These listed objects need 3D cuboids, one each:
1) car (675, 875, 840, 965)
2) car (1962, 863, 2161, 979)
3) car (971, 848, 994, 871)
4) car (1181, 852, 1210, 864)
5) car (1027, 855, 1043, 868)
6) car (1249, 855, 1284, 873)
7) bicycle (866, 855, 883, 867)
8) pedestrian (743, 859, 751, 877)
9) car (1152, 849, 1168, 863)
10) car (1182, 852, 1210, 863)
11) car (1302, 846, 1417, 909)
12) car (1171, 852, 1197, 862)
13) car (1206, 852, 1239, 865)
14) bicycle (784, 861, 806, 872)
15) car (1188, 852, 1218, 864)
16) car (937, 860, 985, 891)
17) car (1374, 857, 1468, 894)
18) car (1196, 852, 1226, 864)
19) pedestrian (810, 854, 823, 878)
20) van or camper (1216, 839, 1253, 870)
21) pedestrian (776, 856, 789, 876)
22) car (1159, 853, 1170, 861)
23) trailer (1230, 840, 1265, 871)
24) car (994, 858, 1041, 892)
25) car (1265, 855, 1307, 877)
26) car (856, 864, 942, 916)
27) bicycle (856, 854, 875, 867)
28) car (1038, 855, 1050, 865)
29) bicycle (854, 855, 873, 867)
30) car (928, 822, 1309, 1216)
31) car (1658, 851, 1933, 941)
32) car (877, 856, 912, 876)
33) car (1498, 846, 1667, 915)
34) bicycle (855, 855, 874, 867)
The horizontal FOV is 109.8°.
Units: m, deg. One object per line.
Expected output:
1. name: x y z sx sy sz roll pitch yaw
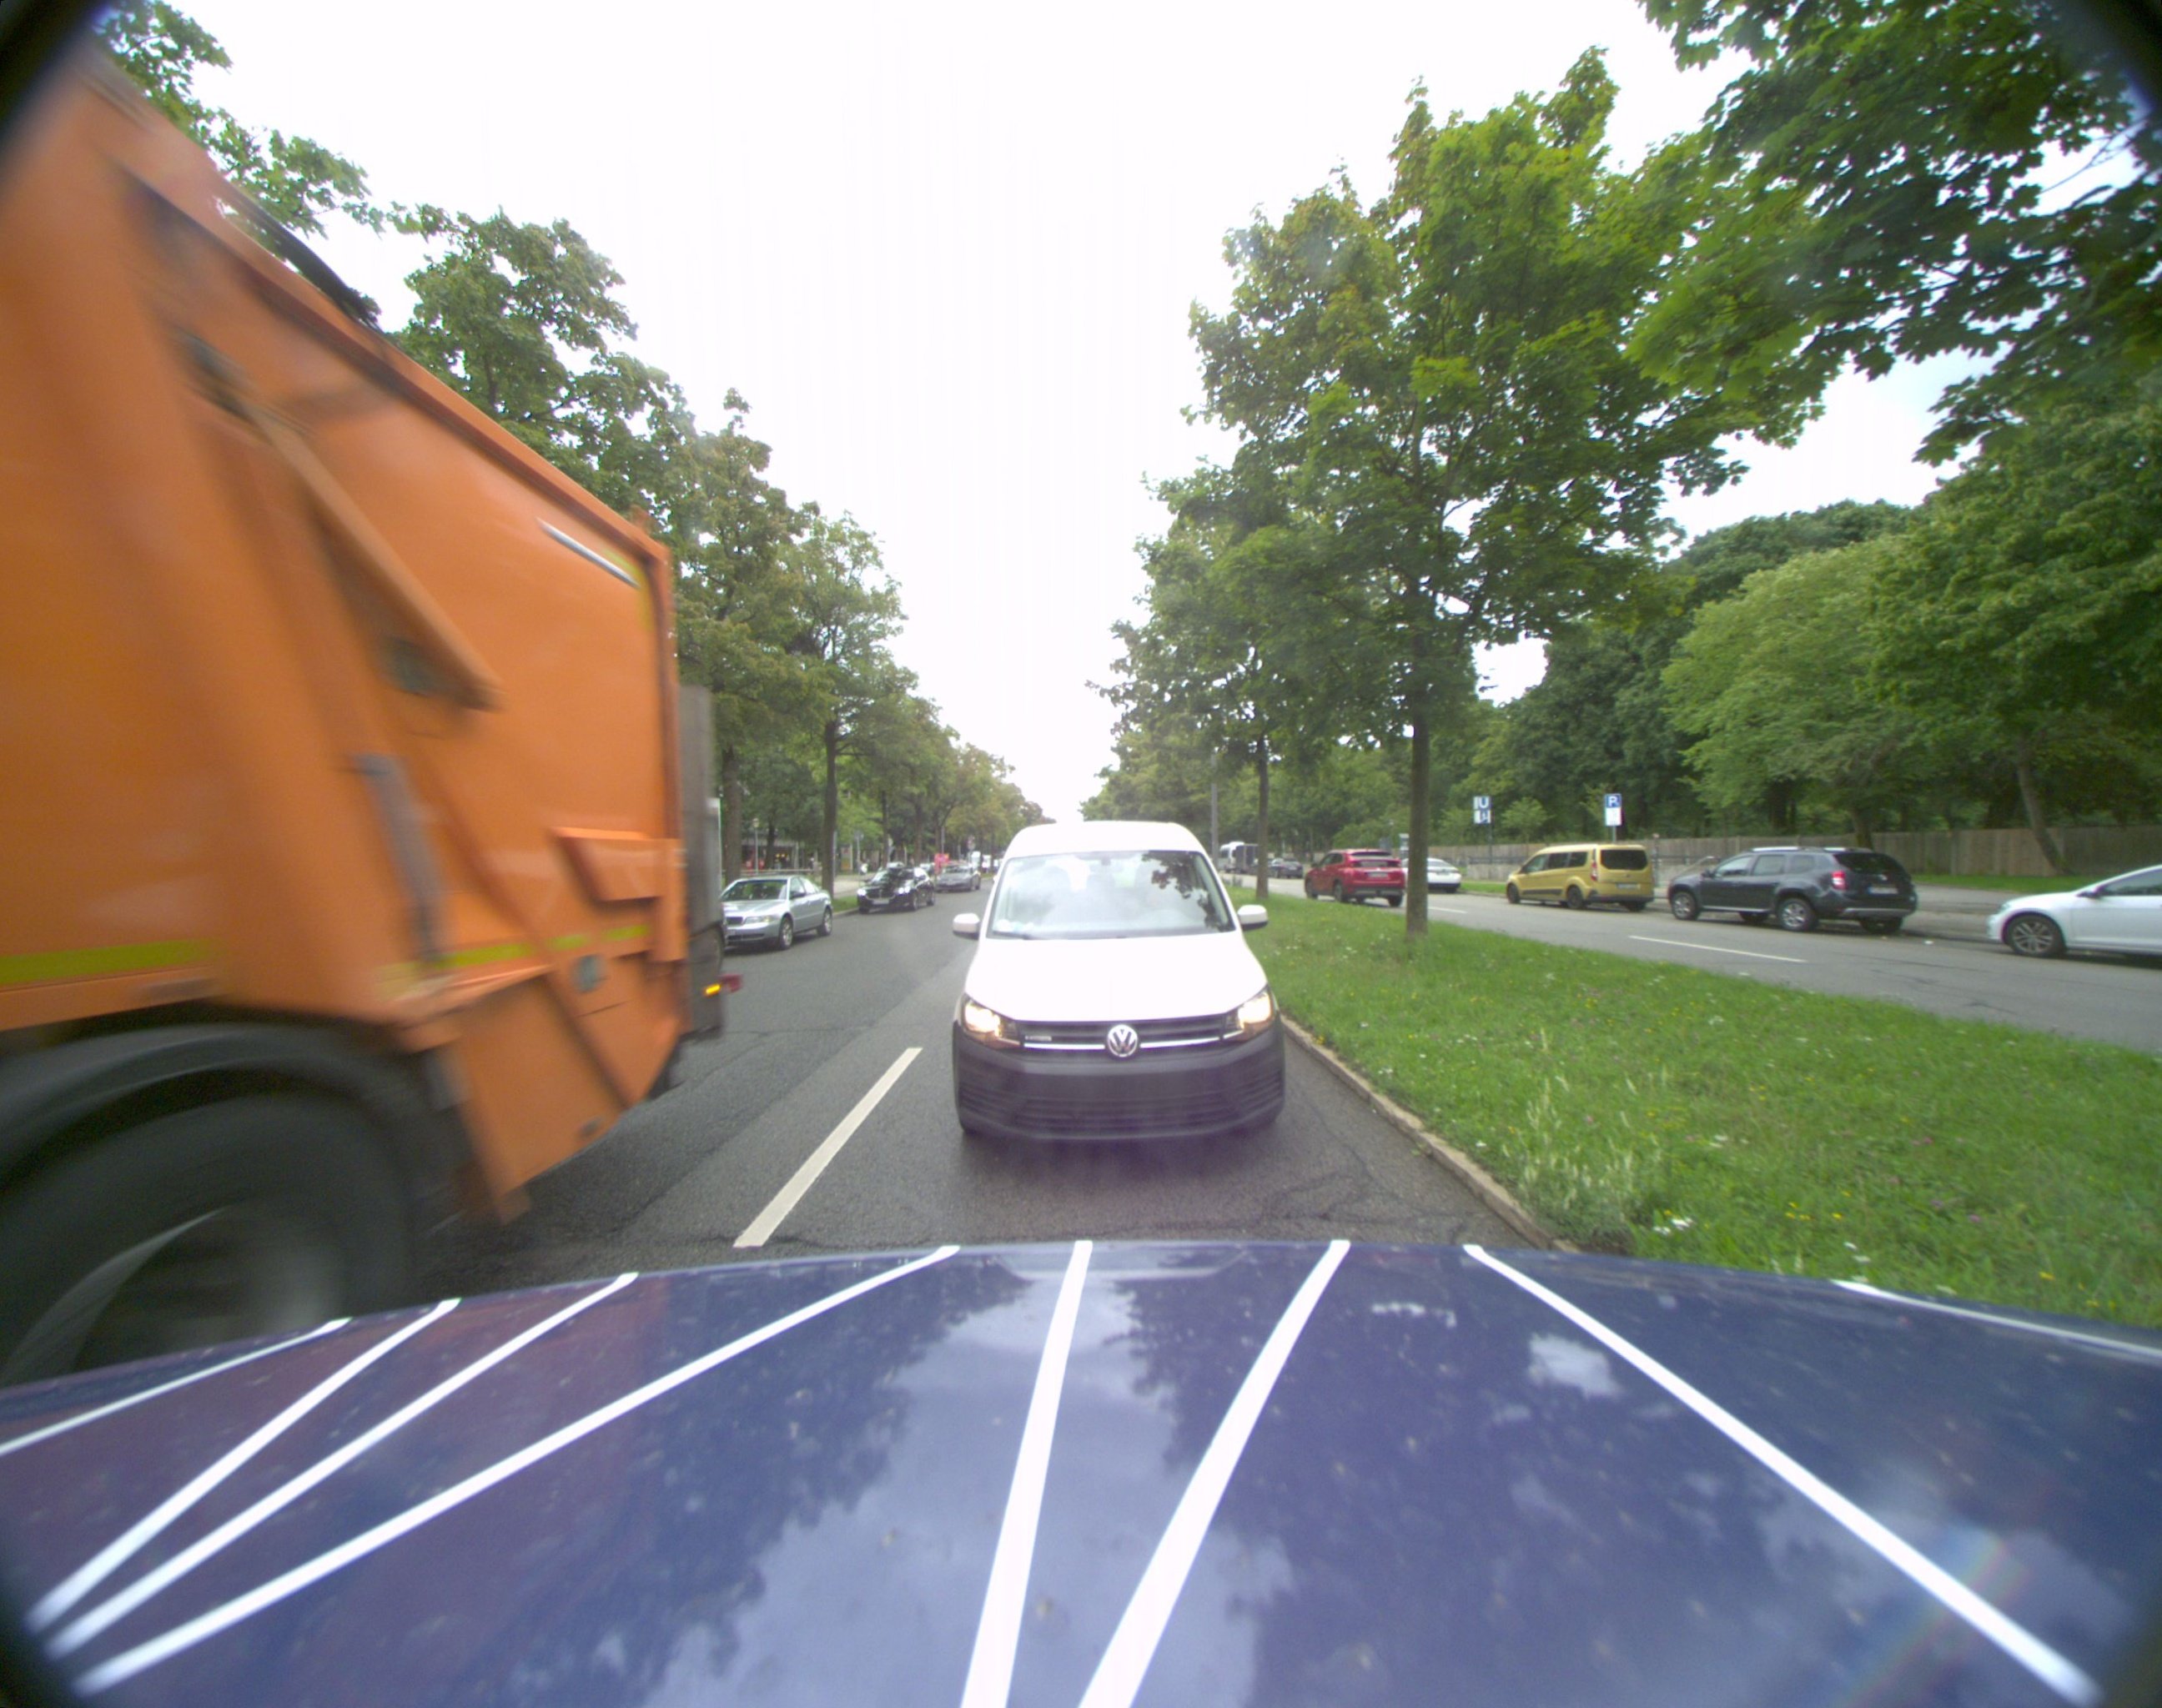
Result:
1. car: -6.298 1.206 15.347 1.640 1.378 4.243 -3 0 -3
2. car: 14.579 0.874 9.535 1.767 1.441 4.532 0 0 0
3. car: -12.155 0.684 93.964 1.978 2.641 6.005 -3 0 0
4. car: 17.563 0.571 116.241 4.006 1.548 1.887 -3 0 -32
5. car: -6.094 0.962 100.273 1.686 1.632 4.464 -4 0 0
6. car: 14.664 0.798 60.278 1.805 1.376 4.238 0 0 0
7. bicycle: -29.217 0.956 107.528 2.316 1.613 0.648 -1 1 -17
8. pedestrian: -30.251 1.269 68.823 0.633 1.533 0.659 1 1 -27
9. car: 11.501 0.235 110.615 1.804 1.922 4.993 0 1 -1
10. car: 18.155 0.573 119.898 4.006 1.548 1.887 -3 0 -32
11. car: 8.196 0.637 22.772 1.908 1.686 4.245 1 0 1
12. car: 17.886 0.580 131.839 4.006 1.548 1.887 -3 0 -32
13. car: 18.307 0.585 98.346 4.006 1.477 1.797 -3 0 -34
14. bicycle: -28.962 1.252 76.938 2.080 1.114 0.455 -1 1 0
15. car: 18.202 0.569 113.675 4.005 1.548 1.888 -3 0 -27
16. car: -6.169 1.082 39.551 1.686 1.457 4.115 -3 0 1
17. car: 14.613 0.859 32.989 1.861 1.464 4.874 0 0 0
18. car: 19.009 0.582 110.686 4.005 1.446 1.736 -3 0 -27
19. pedestrian: -19.922 0.890 57.152 0.600 1.720 0.642 -2 1 20
20. van or camper: 14.510 0.034 72.226 2.040 2.821 7.546 0 0 0
21. pedestrian: -23.604 0.945 60.075 0.779 1.565 0.581 -1 1 35
22. car: 16.773 0.614 152.889 1.889 1.435 4.169 -2 1 4
23. trailer: 14.471 0.140 66.122 2.022 2.575 4.658 0 0 0
24. car: -3.031 0.992 37.322 1.799 1.434 4.667 -3 0 1
25. car: 14.466 0.822 53.818 1.805 1.417 4.431 0 0 0
26. car: -6.043 1.149 25.673 1.755 1.457 4.176 -3 0 1
27. bicycle: -29.069 0.890 102.664 2.313 1.613 0.649 -1 1 0
28. car: -6.001 1.014 123.036 1.735 1.498 4.441 -3 0 -1
29. bicycle: -29.095 0.947 101.762 2.313 1.613 0.649 -1 1 0
30. car: 0.143 0.763 5.855 1.750 1.807 4.667 -1 0 -1
31. car: 14.612 0.761 15.955 1.741 1.636 4.255 0 0 0
32. car: -16.257 1.036 66.319 1.826 1.624 4.198 0 0 2
33. car: 14.366 0.688 22.189 1.819 1.772 4.817 0 0 1
34. bicycle: -28.767 0.942 100.792 2.313 1.523 0.649 -1 1 0
